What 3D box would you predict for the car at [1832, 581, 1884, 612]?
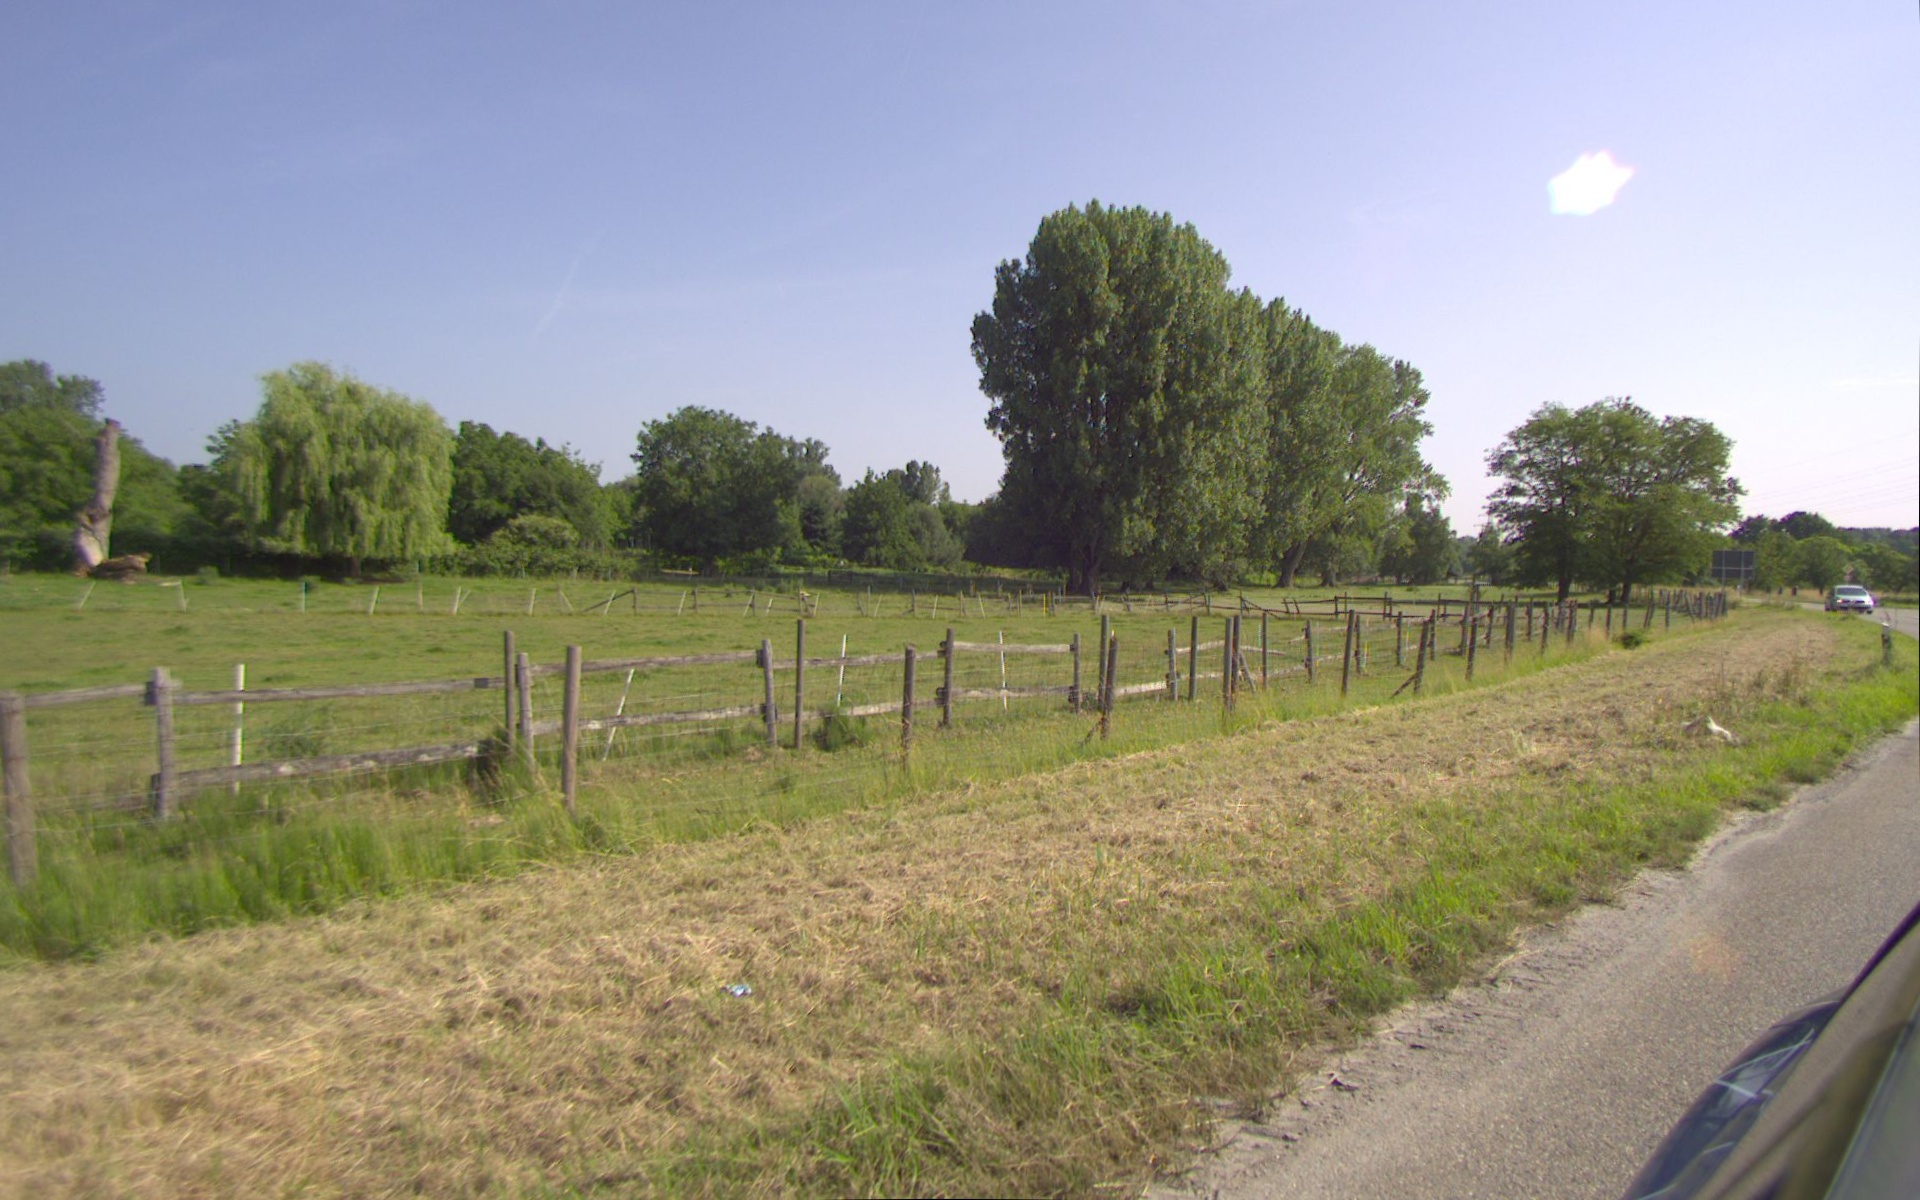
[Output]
[{"bbox_3d":[50.650,-0.228,57.125,1.991,1.599,3.854,2,2,39],"label":"car"}]
